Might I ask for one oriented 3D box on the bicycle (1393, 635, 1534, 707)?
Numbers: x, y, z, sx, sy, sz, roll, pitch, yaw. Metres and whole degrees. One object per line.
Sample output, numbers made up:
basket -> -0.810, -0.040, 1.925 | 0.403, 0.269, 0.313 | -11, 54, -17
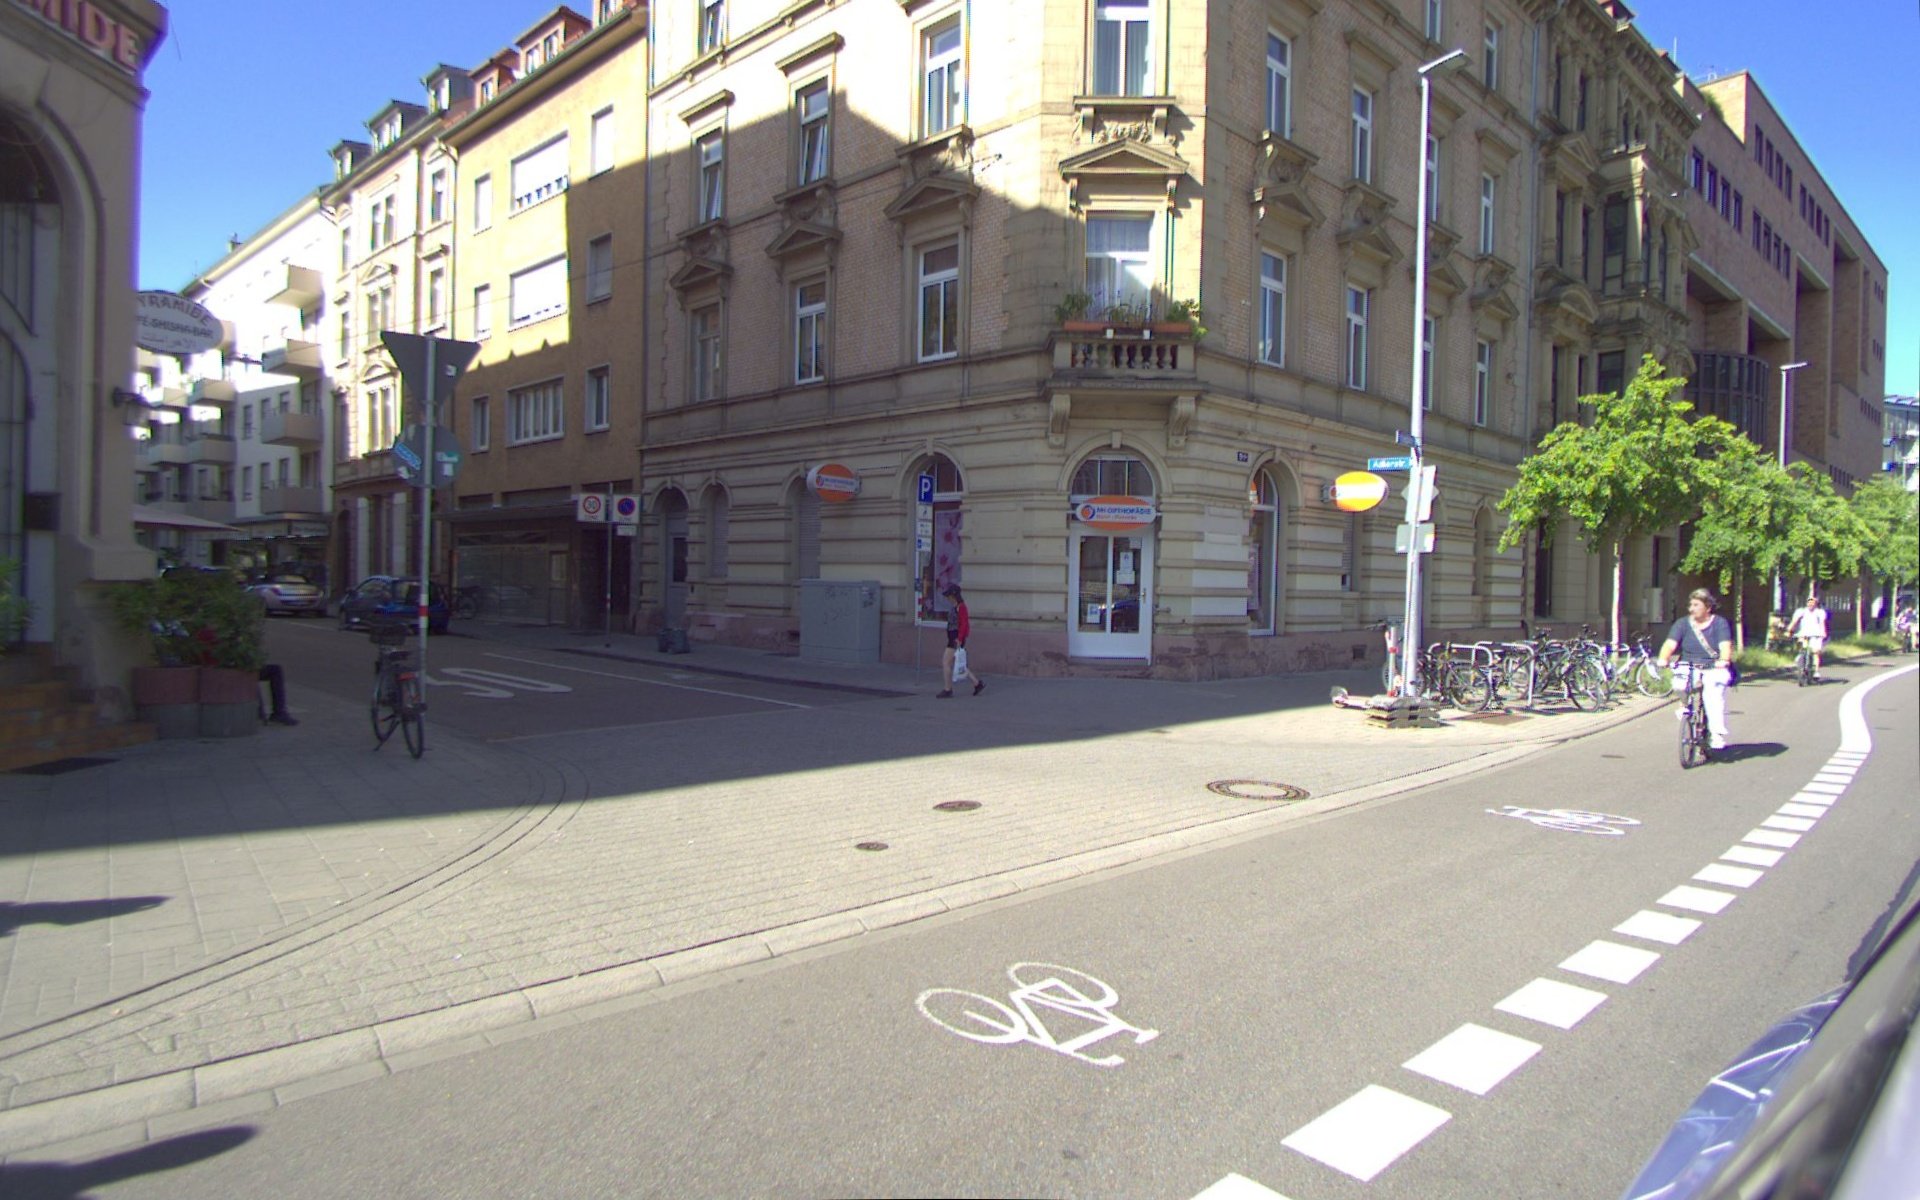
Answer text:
bicycle -> 7.045, 0.967, 14.231 | 0.595, 0.831, 1.677 | 1, 2, -33

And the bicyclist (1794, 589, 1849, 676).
bicyclist -> 17.871, 0.654, 20.997 | 0.893, 1.751, 0.684 | 1, -1, -39

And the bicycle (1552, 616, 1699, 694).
bicycle -> 11.505, 0.911, 17.543 | 1.993, 1.106, 0.835 | 5, 3, 40

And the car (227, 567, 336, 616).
car -> -21.333, -0.282, 31.771 | 3.983, 1.351, 1.775 | 2, -1, 40

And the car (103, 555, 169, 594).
car -> -37.561, -1.157, 46.109 | 3.758, 1.686, 1.775 | 2, 1, 42

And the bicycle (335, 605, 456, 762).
bicycle -> -5.030, 0.687, 8.968 | 0.641, 1.186, 1.823 | 5, -1, -36

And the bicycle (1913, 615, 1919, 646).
bicycle -> 35.711, 1.109, 37.343 | 1.480, 1.110, 0.578 | 0, -1, -38

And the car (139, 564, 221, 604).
car -> -30.114, -0.641, 39.049 | 3.757, 1.450, 1.776 | 2, 1, 40

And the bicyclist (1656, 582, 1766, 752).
bicyclist -> 7.274, 0.613, 9.799 | 0.893, 1.557, 0.658 | 1, -1, -41

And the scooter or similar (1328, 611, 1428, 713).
scooter or similar -> 5.375, 0.768, 13.054 | 0.411, 1.204, 1.115 | 1, 1, -33

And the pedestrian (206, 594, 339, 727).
pedestrian -> -6.795, 0.559, 10.005 | 0.849, 1.229, 0.920 | 0, 0, 43

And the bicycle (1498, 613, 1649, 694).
bicycle -> 10.280, 0.860, 17.018 | 0.697, 1.142, 2.001 | 1, 3, -39

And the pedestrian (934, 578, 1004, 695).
pedestrian -> 0.115, 0.485, 13.986 | 0.909, 1.561, 0.712 | 1, 1, -2

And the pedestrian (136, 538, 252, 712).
pedestrian -> -8.320, 0.255, 10.993 | 0.906, 1.783, 0.854 | 0, 0, 43

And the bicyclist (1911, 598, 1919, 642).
bicyclist -> 35.691, 0.726, 37.332 | 0.748, 1.637, 0.755 | 1, -1, -38

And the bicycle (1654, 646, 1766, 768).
bicycle -> 7.251, 0.988, 9.764 | 1.481, 1.040, 0.558 | 0, -1, -41

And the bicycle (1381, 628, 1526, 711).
bicycle -> 6.642, 0.906, 13.695 | 0.595, 0.955, 1.677 | 1, 1, -33

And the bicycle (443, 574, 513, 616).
bicycle -> -14.204, -0.151, 29.799 | 1.988, 1.193, 0.629 | 1, 1, 19

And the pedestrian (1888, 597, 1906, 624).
pedestrian -> 53.740, 0.590, 58.049 | 0.723, 1.505, 0.633 | 0, 1, -41

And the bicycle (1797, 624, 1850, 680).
bicycle -> 17.912, 1.058, 20.987 | 1.480, 1.110, 0.578 | 0, -1, -39

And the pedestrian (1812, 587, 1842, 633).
pedestrian -> 36.872, 0.421, 43.050 | 1.087, 1.906, 0.789 | 0, 1, -41

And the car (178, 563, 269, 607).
car -> -26.039, -0.540, 35.760 | 3.757, 1.450, 1.776 | 2, 1, 40

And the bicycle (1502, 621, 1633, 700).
bicycle -> 9.522, 0.920, 15.913 | 0.595, 1.058, 1.605 | 1, 3, -37

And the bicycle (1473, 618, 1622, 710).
bicycle -> 8.513, 0.895, 14.738 | 0.595, 1.114, 1.729 | 1, 3, -37

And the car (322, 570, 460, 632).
car -> -14.645, 0.001, 25.966 | 3.983, 1.438, 1.775 | 2, -1, 40
